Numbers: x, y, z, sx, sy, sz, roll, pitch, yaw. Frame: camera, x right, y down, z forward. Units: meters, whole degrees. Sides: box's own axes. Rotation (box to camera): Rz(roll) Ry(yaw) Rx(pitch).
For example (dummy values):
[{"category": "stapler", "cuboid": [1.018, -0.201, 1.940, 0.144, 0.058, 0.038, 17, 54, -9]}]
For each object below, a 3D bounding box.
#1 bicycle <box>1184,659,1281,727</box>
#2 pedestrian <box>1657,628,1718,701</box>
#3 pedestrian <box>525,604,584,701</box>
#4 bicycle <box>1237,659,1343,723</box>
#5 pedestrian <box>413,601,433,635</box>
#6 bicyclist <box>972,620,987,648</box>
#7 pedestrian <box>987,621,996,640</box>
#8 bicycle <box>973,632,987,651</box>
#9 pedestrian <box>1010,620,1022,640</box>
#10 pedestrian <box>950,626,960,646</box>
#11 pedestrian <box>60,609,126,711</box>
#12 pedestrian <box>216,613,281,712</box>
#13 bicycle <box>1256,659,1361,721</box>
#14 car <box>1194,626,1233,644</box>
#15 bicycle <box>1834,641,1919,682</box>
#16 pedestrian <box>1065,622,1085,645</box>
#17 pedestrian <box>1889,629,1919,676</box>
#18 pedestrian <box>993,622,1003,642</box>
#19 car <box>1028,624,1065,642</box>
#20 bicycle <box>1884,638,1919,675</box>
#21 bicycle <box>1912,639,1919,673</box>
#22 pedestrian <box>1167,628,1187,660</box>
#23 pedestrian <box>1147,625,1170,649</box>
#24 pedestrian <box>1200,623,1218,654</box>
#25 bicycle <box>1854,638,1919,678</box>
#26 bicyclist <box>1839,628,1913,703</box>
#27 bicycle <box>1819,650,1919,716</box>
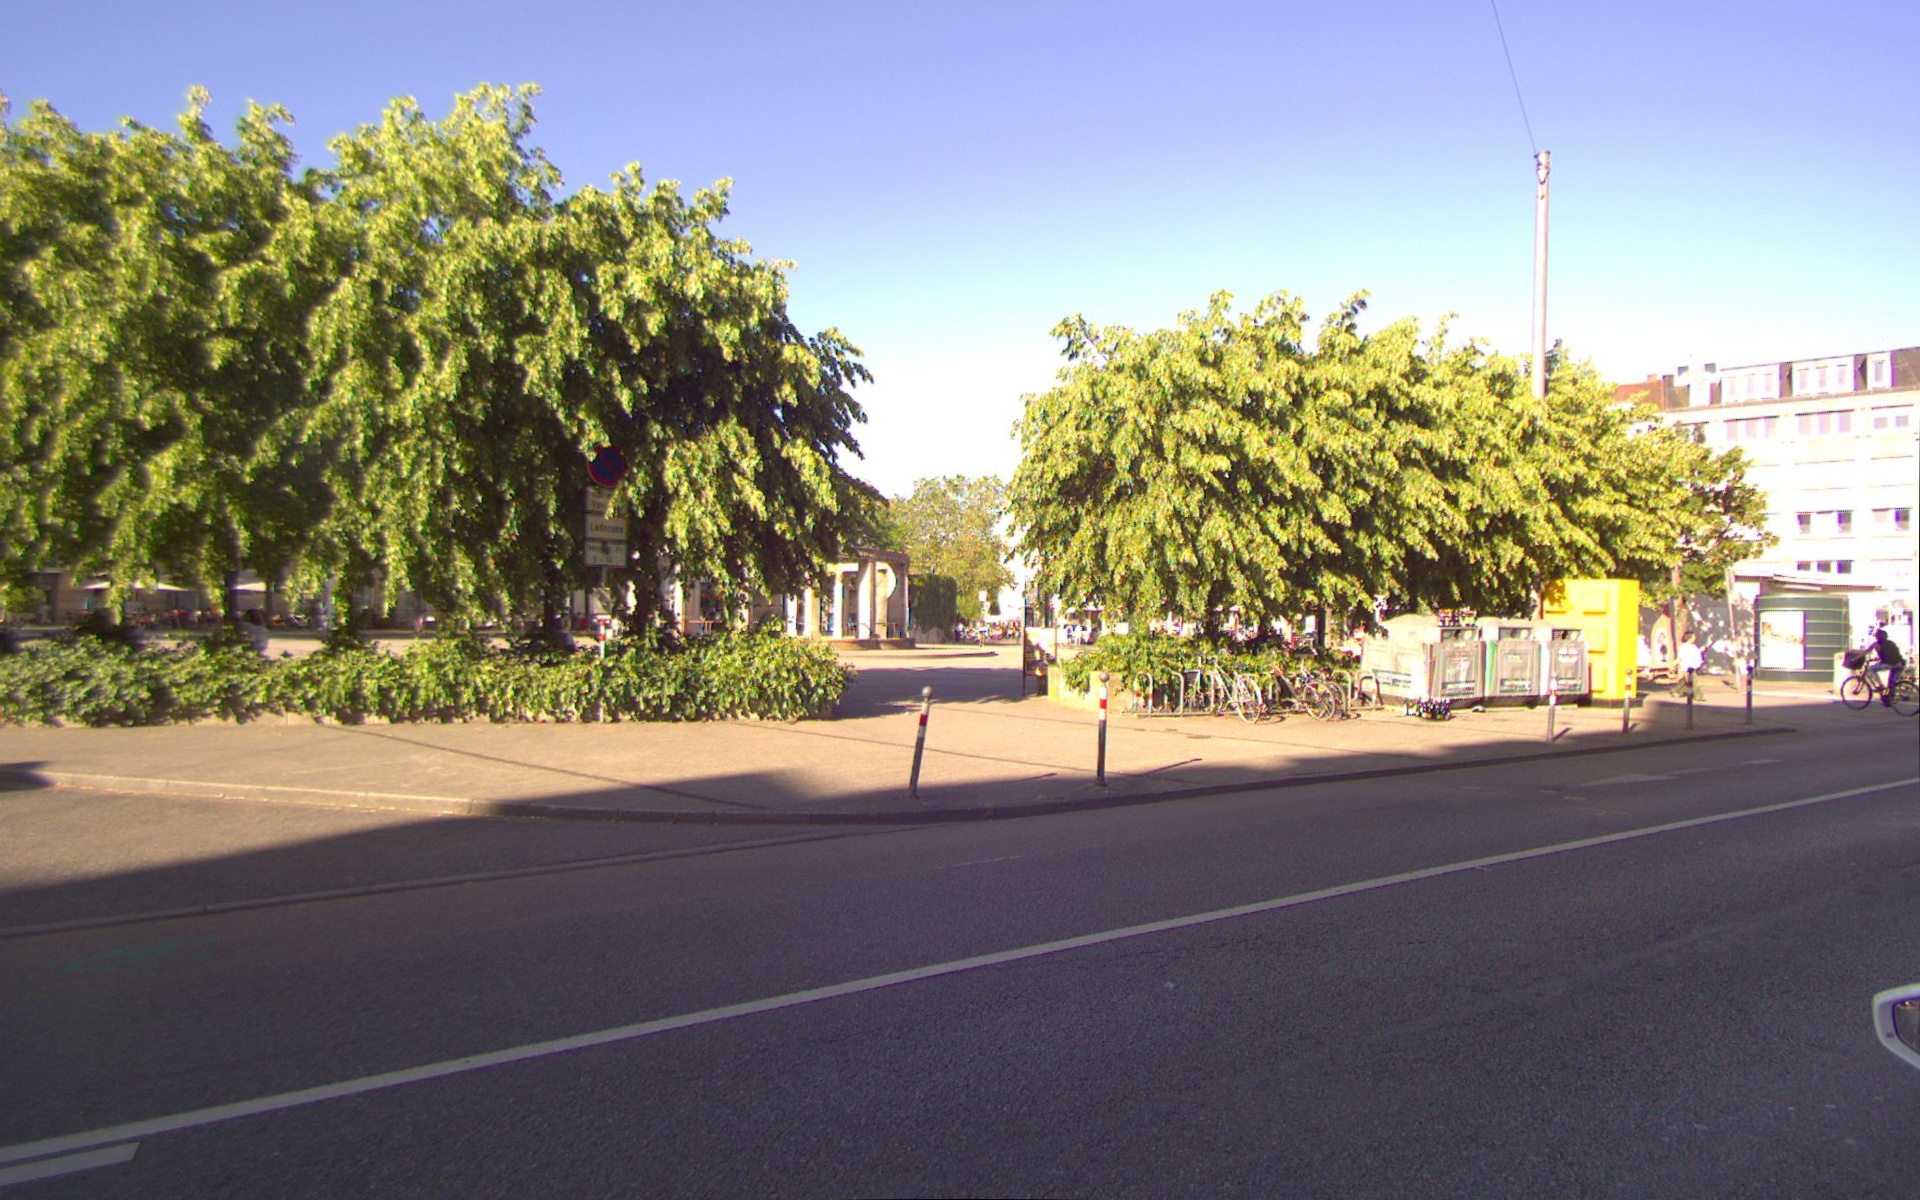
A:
[{"category": "bicycle", "cuboid": [4.190, 1.412, 15.533, 0.464, 0.897, 1.558, 2, 0, -29]}, {"category": "pedestrian", "cuboid": [16.414, 1.440, 22.674, 0.688, 1.564, 0.915, 2, 0, -35]}, {"category": "pedestrian", "cuboid": [-6.636, 0.845, 16.438, 0.688, 1.541, 0.676, 2, 0, -41]}, {"category": "bicycle", "cuboid": [5.290, 1.444, 16.192, 0.465, 0.870, 1.659, 2, 0, -35]}, {"category": "pedestrian", "cuboid": [-24.932, 0.856, 46.628, 0.733, 1.550, 0.687, 2, 0, -35]}, {"category": "bicyclist", "cuboid": [1.249, 2.197, 64.644, 0.772, 1.722, 0.896, 2, 0, 10]}, {"category": "pedestrian", "cuboid": [3.382, 3.269, 108.618, 0.836, 2.040, 0.855, 2, 0, 10]}, {"category": "bicycle", "cuboid": [1.285, 2.674, 64.869, 0.593, 1.116, 1.991, 2, 0, 9]}, {"category": "pedestrian", "cuboid": [5.387, 2.899, 96.037, 0.891, 1.845, 0.952, 2, 0, 17]}, {"category": "pedestrian", "cuboid": [-0.401, 2.777, 77.695, 0.613, 1.544, 0.579, 2, 0, 10]}, {"category": "pedestrian", "cuboid": [-12.843, 0.872, 14.890, 0.615, 1.456, 0.647, 2, 0, -32]}, {"category": "pedestrian", "cuboid": [-10.835, 0.935, 15.307, 0.581, 1.456, 0.615, 2, 0, 33]}, {"category": "bicycle", "cuboid": [5.689, 1.455, 16.487, 0.465, 0.870, 1.654, 2, 0, -35]}, {"category": "car", "cuboid": [20.323, 2.786, 80.547, 2.710, 1.273, 1.239, 2, 0, 36]}, {"category": "bicycle", "cuboid": [31.236, 2.064, 33.771, 0.932, 1.211, 2.645, 2, 0, -32]}, {"category": "pedestrian", "cuboid": [9.651, 2.844, 84.371, 1.277, 1.867, 1.100, 2, 0, 28]}, {"category": "pedestrian", "cuboid": [34.334, 1.880, 35.951, 1.246, 1.633, 1.092, 2, 0, -18]}, {"category": "pedestrian", "cuboid": [3.922, 3.263, 103.797, 0.836, 2.040, 0.855, 2, 0, 10]}, {"category": "car", "cuboid": [8.143, 3.066, 94.626, 1.532, 1.550, 4.104, 1, -1, -27]}, {"category": "bicycle", "cuboid": [35.277, 2.084, 36.140, 0.932, 1.287, 2.859, 2, 0, -32]}, {"category": "bicycle", "cuboid": [37.260, 2.155, 37.284, 0.932, 1.276, 2.648, 2, 0, -32]}, {"category": "pedestrian", "cuboid": [10.854, 2.189, 50.192, 0.904, 1.541, 0.936, 2, 0, 15]}, {"category": "pedestrian", "cuboid": [10.433, 1.948, 52.904, 0.855, 1.230, 0.933, 2, 0, -15]}, {"category": "pedestrian", "cuboid": [12.295, 1.892, 49.582, 0.598, 1.528, 0.557, 2, 0, -15]}, {"category": "bicycle", "cuboid": [33.158, 2.040, 35.074, 0.923, 1.291, 2.764, 2, 0, -32]}, {"category": "bicyclist", "cuboid": [19.127, 1.353, 20.983, 0.597, 1.504, 0.957, 2, 0, -8]}, {"category": "bicycle", "cuboid": [19.127, 1.703, 20.894, 0.618, 1.239, 1.998, 3, -1, -8]}]
